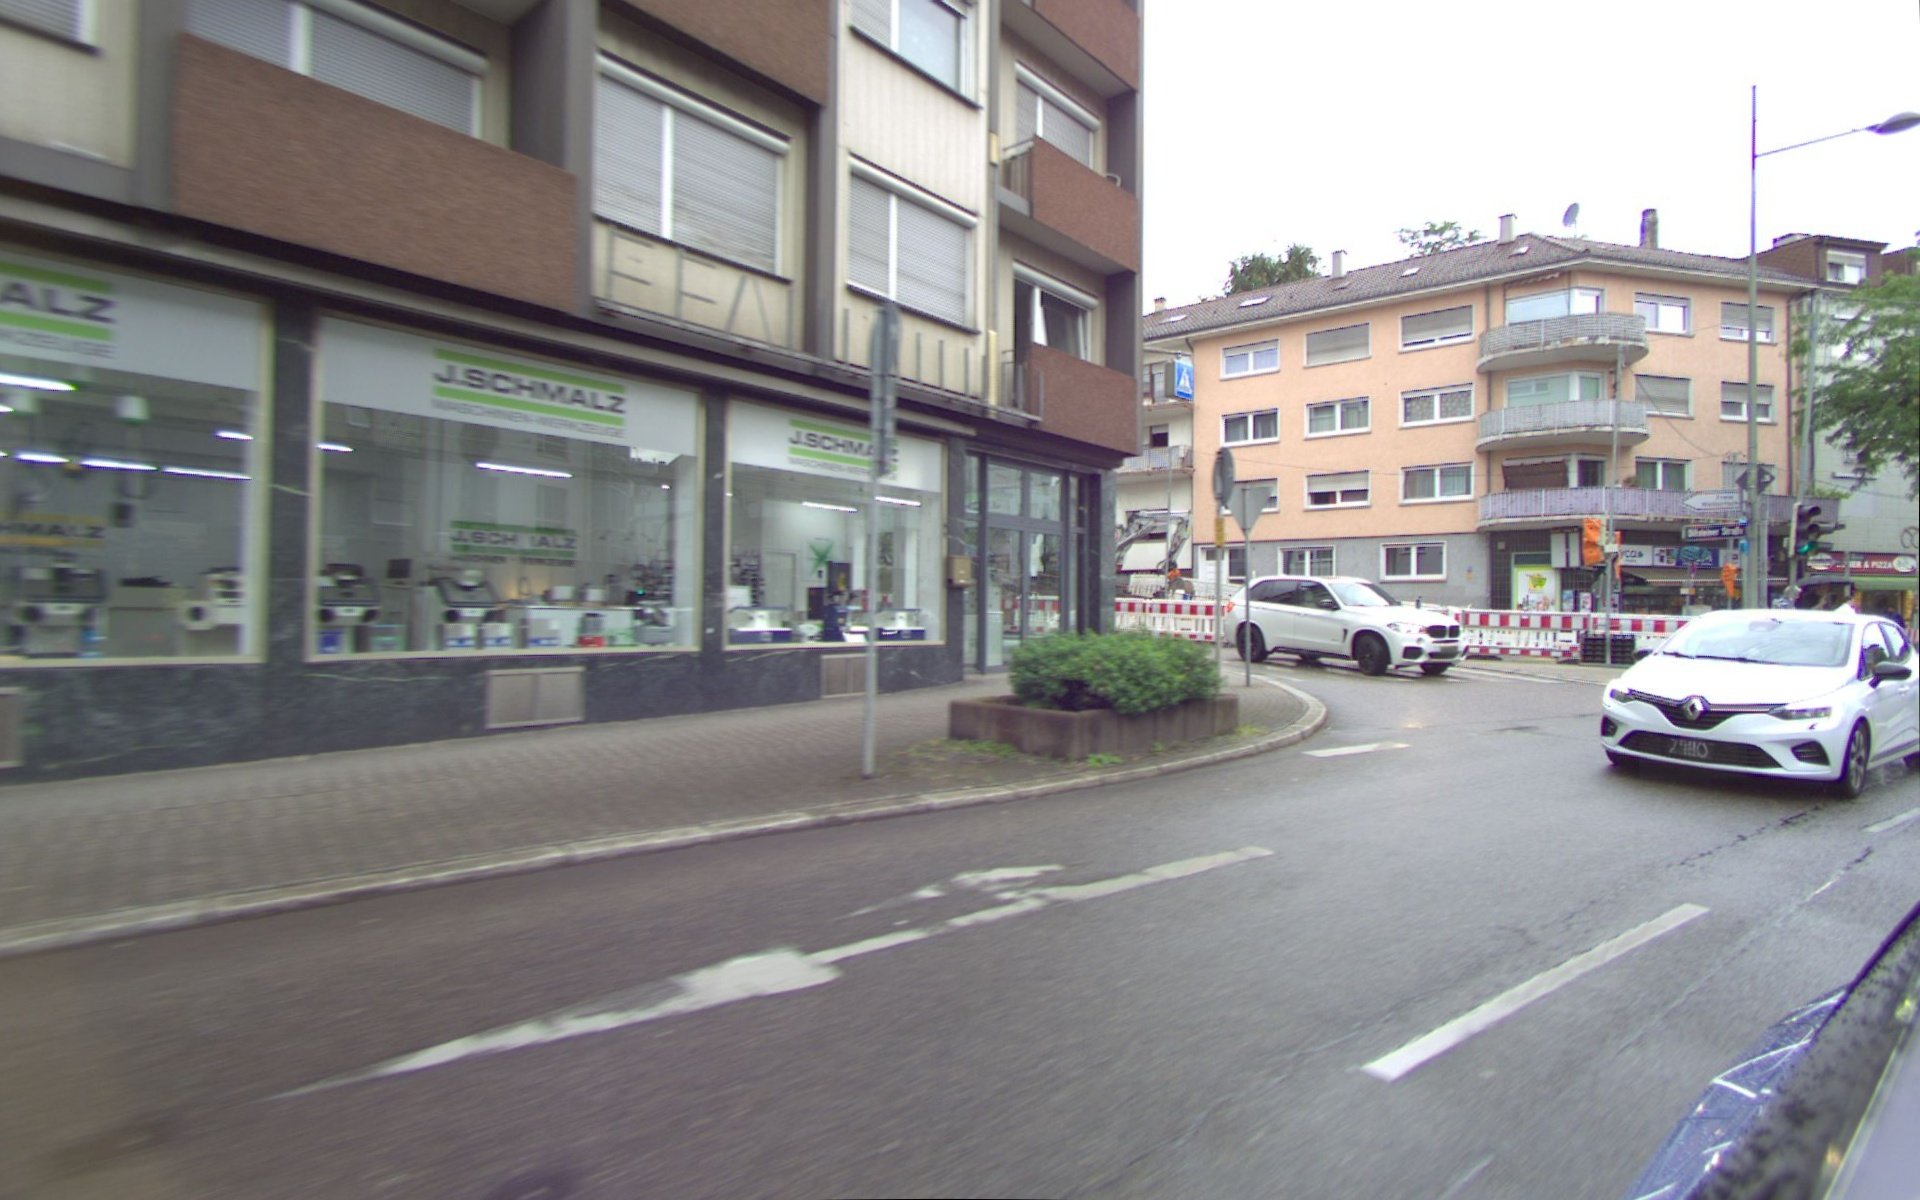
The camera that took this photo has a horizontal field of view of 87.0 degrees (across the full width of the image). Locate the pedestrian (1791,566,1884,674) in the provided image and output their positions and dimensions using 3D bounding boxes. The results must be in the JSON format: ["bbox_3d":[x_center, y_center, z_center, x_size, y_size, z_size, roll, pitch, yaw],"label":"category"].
[{"bbox_3d":[15.754,0.326,18.200,0.907,1.884,1.025,0,2,19],"label":"pedestrian"}]

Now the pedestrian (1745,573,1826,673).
[{"bbox_3d":[14.508,0.382,17.806,0.809,1.709,0.791,0,2,13],"label":"pedestrian"}]

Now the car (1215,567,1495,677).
[{"bbox_3d":[7.310,0.299,19.313,1.959,1.741,4.806,1,2,-28],"label":"car"}]

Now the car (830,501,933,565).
[{"bbox_3d":[-4.022,-3.429,51.272,5.074,2.646,1.865,9,5,37],"label":"car"}]

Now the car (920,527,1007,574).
[{"bbox_3d":[0.128,-2.315,47.252,3.707,1.745,1.737,10,5,41],"label":"car"}]

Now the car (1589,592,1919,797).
[{"bbox_3d":[7.450,0.682,9.059,3.924,1.421,1.682,0,2,-35],"label":"car"}]

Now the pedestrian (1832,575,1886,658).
[{"bbox_3d":[20.956,0.375,23.608,0.650,1.903,0.985,1,-1,24],"label":"pedestrian"}]

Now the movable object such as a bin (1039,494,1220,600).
[{"bbox_3d":[6.750,-2.172,40.884,6.510,3.680,2.703,7,3,39],"label":"movable object such as a bin"}]

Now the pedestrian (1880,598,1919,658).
[{"bbox_3d":[29.830,0.870,31.783,0.889,1.814,0.971,1,2,1],"label":"pedestrian"}]
